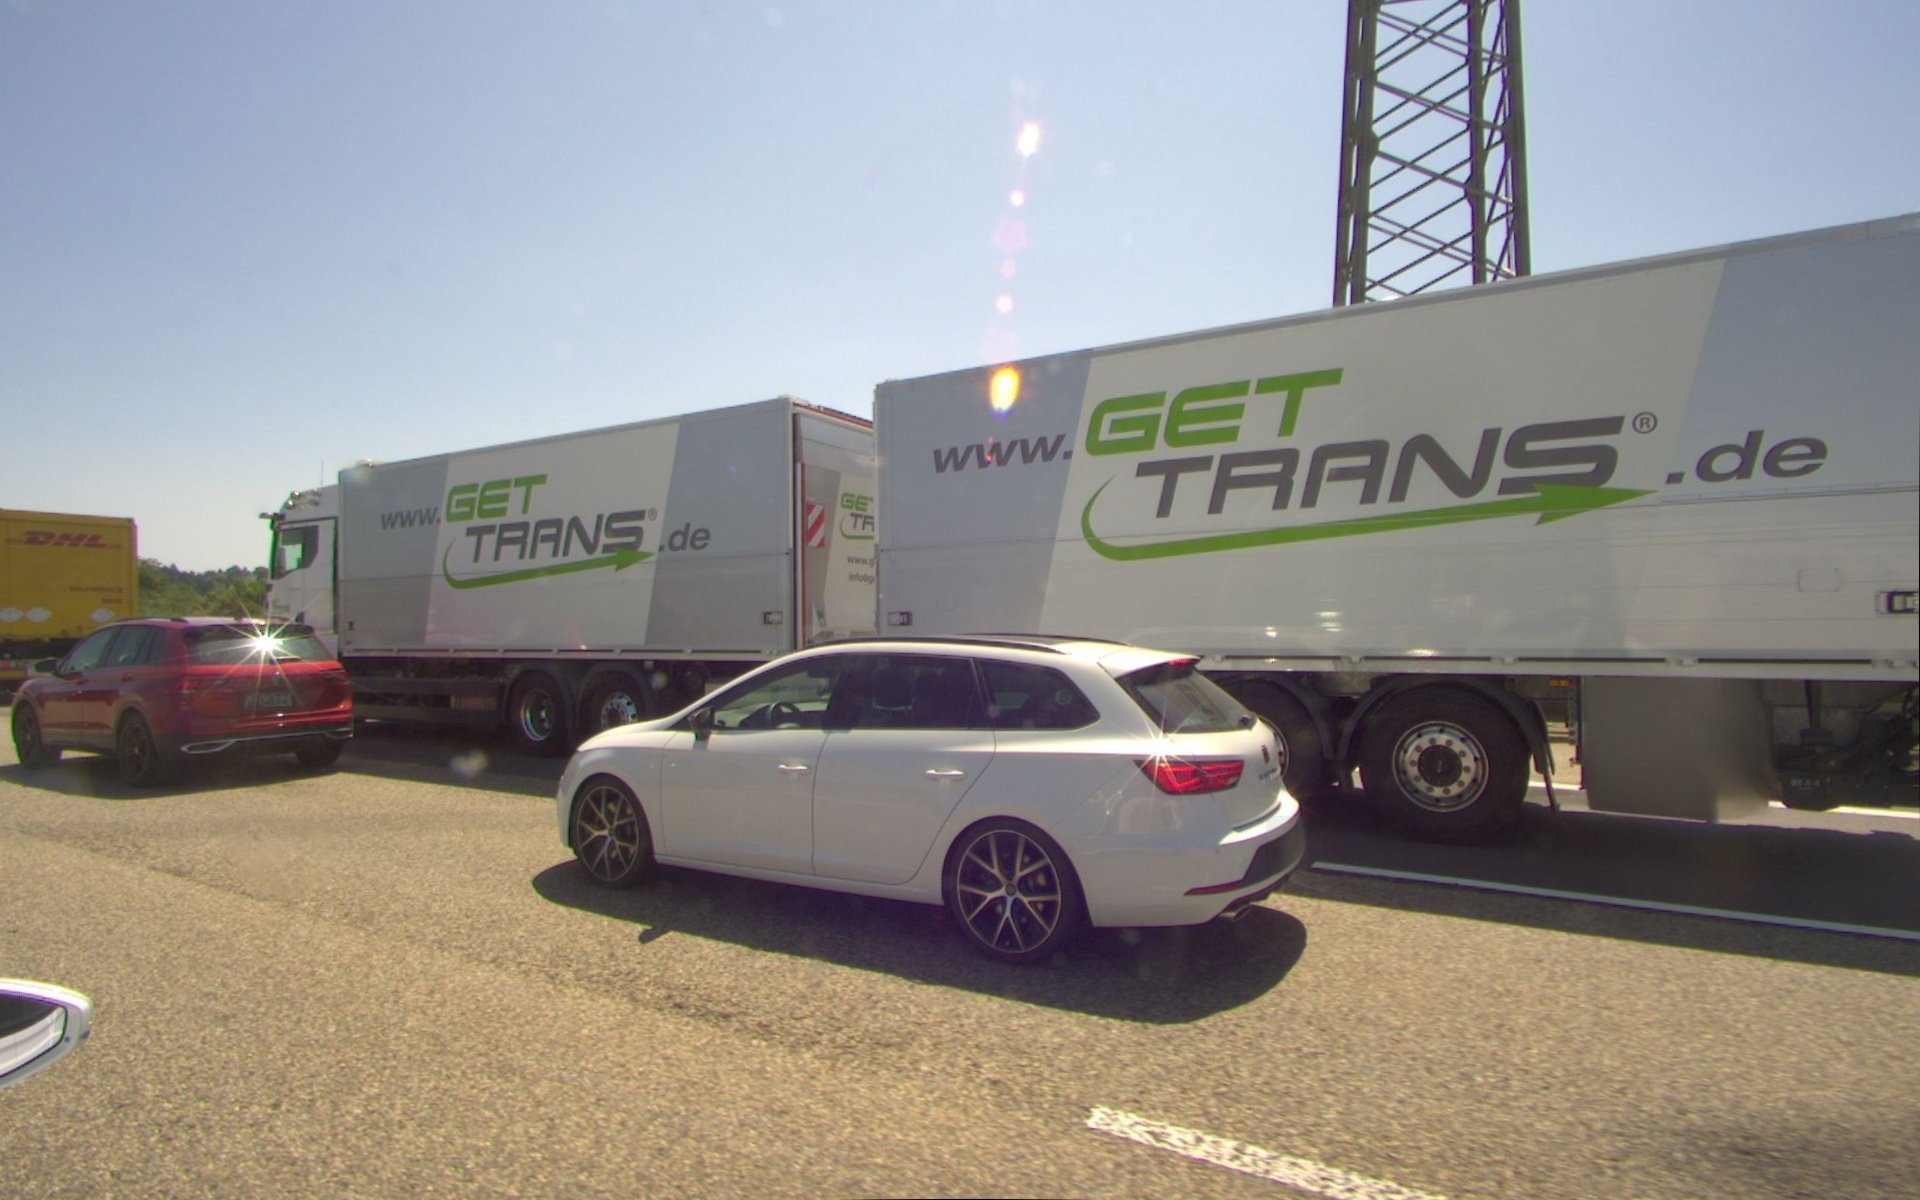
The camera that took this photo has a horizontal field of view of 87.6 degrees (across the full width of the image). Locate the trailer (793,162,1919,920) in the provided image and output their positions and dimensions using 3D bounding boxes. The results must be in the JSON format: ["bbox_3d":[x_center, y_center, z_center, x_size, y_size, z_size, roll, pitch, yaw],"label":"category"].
[{"bbox_3d":[2.652,-0.176,8.340,8.096,3.940,2.895,-2,-2,31],"label":"trailer"}]

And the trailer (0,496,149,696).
[{"bbox_3d":[-23.122,0.072,24.078,8.848,4.139,2.680,-2,-2,31],"label":"trailer"}]

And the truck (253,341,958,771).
[{"bbox_3d":[-5.213,-0.236,13.230,10.457,3.984,2.848,-2,-2,32],"label":"truck"}]

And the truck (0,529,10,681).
[{"bbox_3d":[-30.971,0.215,28.827,9.794,4.139,2.696,-2,-2,31],"label":"truck"}]

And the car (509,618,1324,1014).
[{"bbox_3d":[-0.406,0.855,5.605,4.364,1.470,1.706,-1,-2,31],"label":"car"}]

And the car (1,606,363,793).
[{"bbox_3d":[-8.553,0.978,10.923,4.222,1.700,1.706,-2,-2,31],"label":"car"}]
